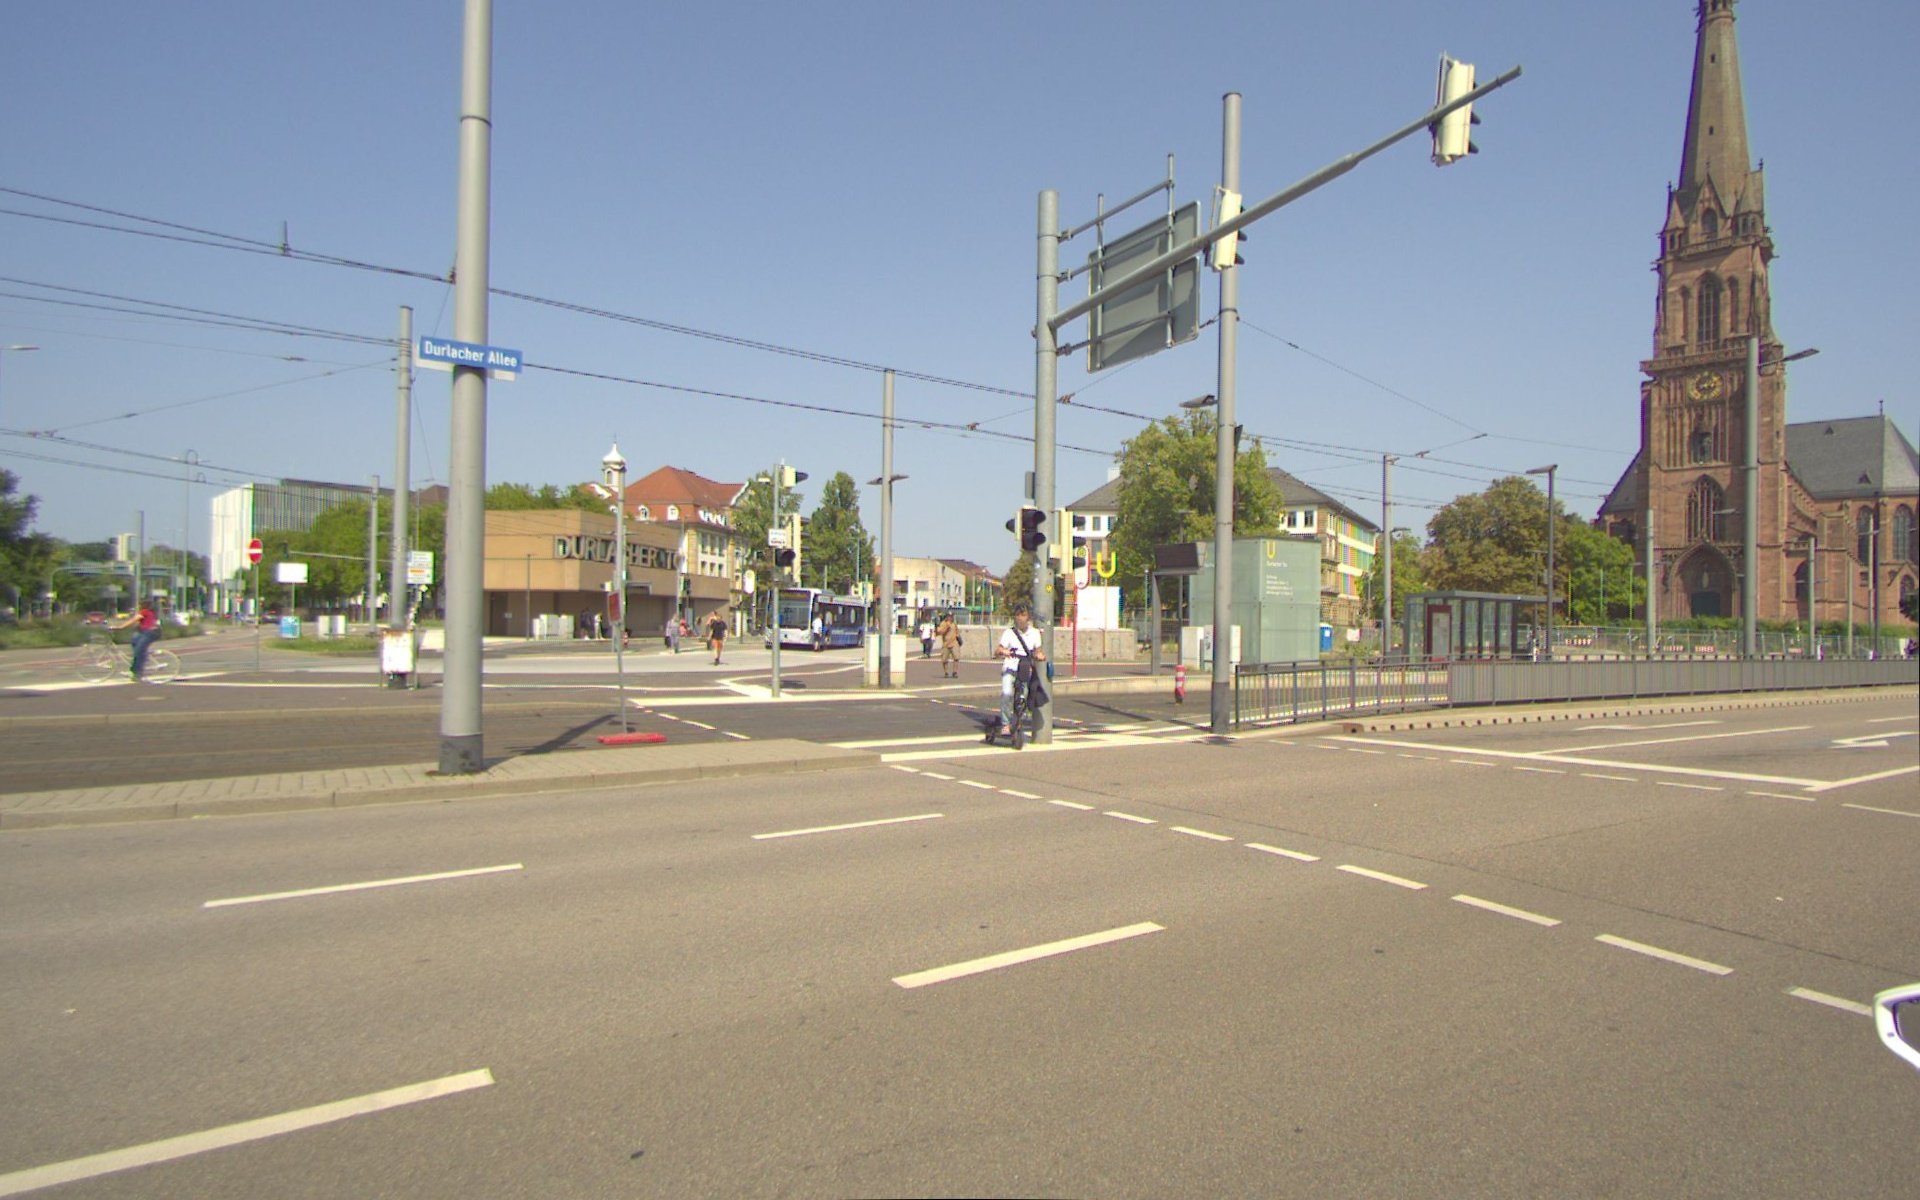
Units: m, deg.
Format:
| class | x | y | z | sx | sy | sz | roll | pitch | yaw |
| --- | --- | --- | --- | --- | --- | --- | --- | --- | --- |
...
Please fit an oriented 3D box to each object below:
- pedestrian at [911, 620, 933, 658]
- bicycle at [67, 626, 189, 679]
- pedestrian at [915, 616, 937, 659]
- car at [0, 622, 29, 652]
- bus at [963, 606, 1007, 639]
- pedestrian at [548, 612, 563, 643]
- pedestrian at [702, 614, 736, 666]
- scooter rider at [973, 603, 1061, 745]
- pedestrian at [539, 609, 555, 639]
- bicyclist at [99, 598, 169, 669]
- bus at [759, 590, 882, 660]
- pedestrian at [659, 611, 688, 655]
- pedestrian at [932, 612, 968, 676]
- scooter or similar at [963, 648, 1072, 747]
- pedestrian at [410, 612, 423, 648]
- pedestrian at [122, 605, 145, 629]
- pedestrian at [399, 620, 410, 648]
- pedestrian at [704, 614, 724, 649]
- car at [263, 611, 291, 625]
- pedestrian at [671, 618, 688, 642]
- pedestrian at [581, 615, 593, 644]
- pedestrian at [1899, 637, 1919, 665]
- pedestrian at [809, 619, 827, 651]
| class | x | y | z | sx | sy | sz | roll | pitch | yaw |
| --- | --- | --- | --- | --- | --- | --- | --- | --- | --- |
| pedestrian | -1.620 | 1.660 | 43.041 | 0.768 | 1.569 | 0.679 | 2 | -1 | 6 |
| bicycle | -17.656 | 1.106 | 21.364 | 1.890 | 1.083 | 0.610 | 2 | -1 | -30 |
| pedestrian | -1.379 | 1.534 | 41.132 | 0.768 | 1.751 | 0.679 | 1 | -1 | 6 |
| car | -60.326 | 2.307 | 62.371 | 1.966 | 1.818 | 3.989 | -1 | 0 | -13 |
| bus | 2.657 | 2.166 | 101.933 | 2.490 | 3.072 | 12.443 | -1 | 0 | 11 |
| pedestrian | -22.939 | 1.556 | 56.960 | 0.566 | 1.698 | 0.587 | -1 | 0 | 13 |
| pedestrian | -8.633 | 1.436 | 35.960 | 0.948 | 1.803 | 0.779 | 3 | -2 | -31 |
| scooter rider | 0.708 | 0.897 | 12.547 | 0.772 | 1.695 | 0.766 | 2 | -1 | -37 |
| pedestrian | -23.112 | 1.345 | 56.229 | 0.566 | 1.698 | 0.587 | -1 | 0 | 13 |
| bicyclist | -17.583 | 0.706 | 21.408 | 0.968 | 1.479 | 0.871 | 1 | -1 | -29 |
| bus | -7.321 | 1.391 | 55.223 | 2.623 | 3.375 | 12.767 | 1 | -1 | 11 |
| pedestrian | -11.913 | 1.379 | 41.714 | 0.948 | 1.803 | 0.779 | 3 | -2 | -31 |
| pedestrian | -0.265 | 1.157 | 26.902 | 0.565 | 1.681 | 0.797 | 0 | 0 | 39 |
| scooter or similar | 0.698 | 1.188 | 12.575 | 0.702 | 1.163 | 1.329 | 2 | -3 | -35 |
| pedestrian | -27.893 | 1.534 | 51.536 | 0.554 | 1.840 | 0.556 | 1 | -1 | -32 |
| pedestrian | -63.977 | 1.316 | 77.751 | 0.953 | 1.809 | 1.113 | 1 | -1 | -17 |
| pedestrian | -28.258 | 1.729 | 51.101 | 0.456 | 1.393 | 0.346 | 1 | -1 | -32 |
| pedestrian | -12.773 | 1.636 | 52.097 | 0.775 | 1.803 | 0.953 | 3 | -2 | -27 |
| car | -85.321 | 2.263 | 125.500 | 1.876 | 1.675 | 4.632 | 1 | -1 | -23 |
| pedestrian | -19.653 | 2.099 | 70.409 | 0.779 | 1.702 | 0.856 | -1 | 0 | 13 |
| pedestrian | -21.430 | 1.673 | 57.664 | 0.564 | 1.667 | 0.508 | -1 | 0 | -31 |
| pedestrian | 61.042 | 3.271 | 64.611 | 0.713 | 1.775 | 0.824 | 3 | -2 | -32 |
| pedestrian | -6.862 | 1.688 | 48.535 | 0.589 | 1.549 | 0.577 | 1 | -2 | 26 |
